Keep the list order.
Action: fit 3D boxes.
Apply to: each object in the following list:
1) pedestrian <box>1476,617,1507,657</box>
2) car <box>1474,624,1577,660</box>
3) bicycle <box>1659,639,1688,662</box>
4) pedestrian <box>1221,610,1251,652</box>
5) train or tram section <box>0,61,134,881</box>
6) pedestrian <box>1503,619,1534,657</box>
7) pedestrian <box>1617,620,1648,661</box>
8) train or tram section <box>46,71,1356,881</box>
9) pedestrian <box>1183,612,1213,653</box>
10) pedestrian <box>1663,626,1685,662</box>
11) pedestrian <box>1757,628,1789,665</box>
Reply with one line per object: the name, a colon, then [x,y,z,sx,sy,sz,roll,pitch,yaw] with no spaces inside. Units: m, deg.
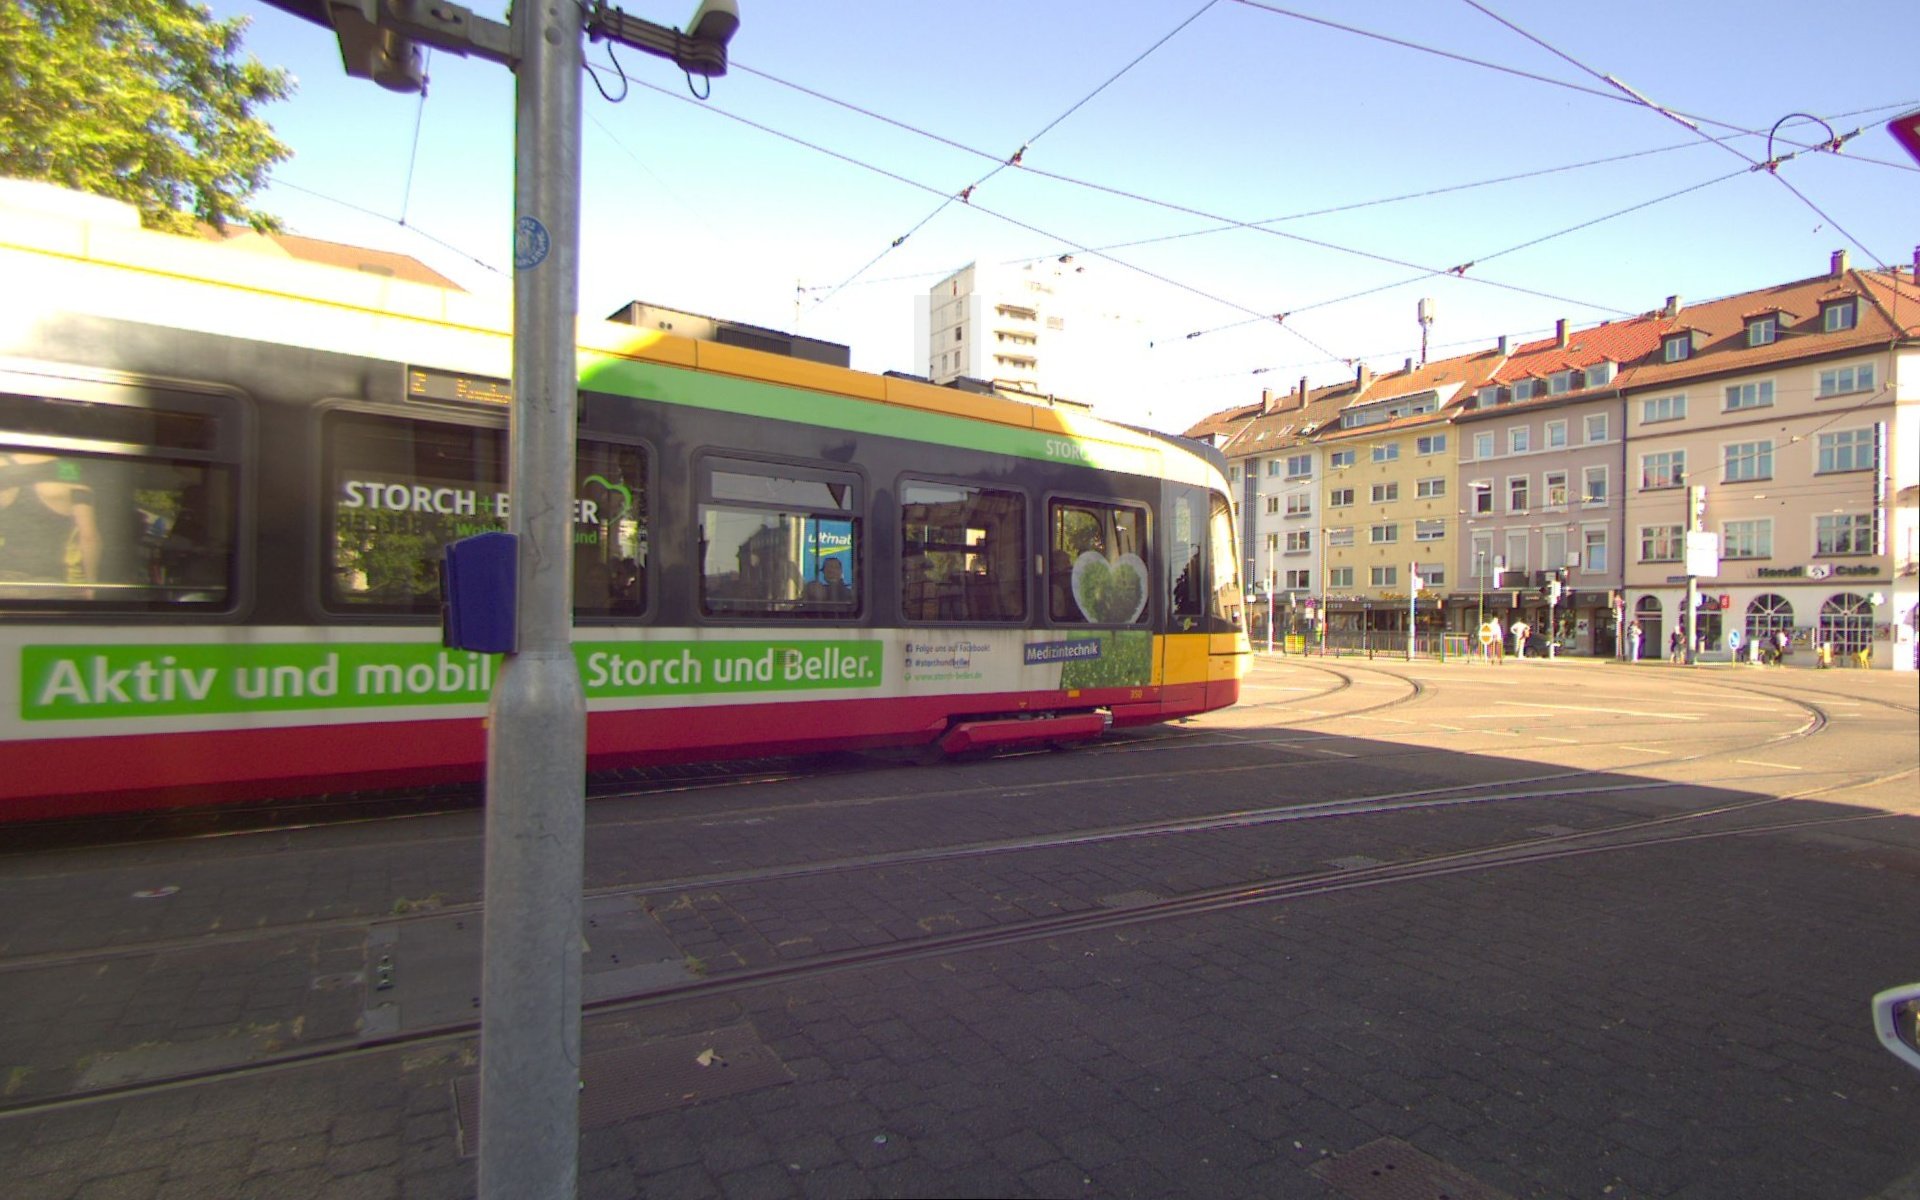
pedestrian: [21.544,1.501,40.747,0.867,1.598,0.665,2,0,-2]
car: [30.819,2.283,54.849,2.277,1.734,4.350,2,0,-27]
bicycle: [34.050,2.403,47.925,1.479,1.091,0.570,2,0,-30]
pedestrian: [11.380,1.267,41.426,1.037,1.700,0.929,0,0,3]
train or tram section: [-10.528,-0.735,2.530,12.684,3.864,2.915,1,-1,-33]
pedestrian: [24.398,1.662,43.875,0.821,1.598,0.847,2,0,-20]
pedestrian: [26.663,1.602,39.843,0.817,1.598,0.552,2,0,-2]
train or tram section: [-0.612,-0.461,9.773,12.020,3.864,2.908,2,-1,-40]
pedestrian: [9.924,1.338,41.901,1.037,1.700,0.929,0,0,3]
pedestrian: [34.076,2.103,47.937,0.743,1.692,0.579,2,0,-30]
pedestrian: [36.144,2.064,44.655,0.816,1.598,0.728,2,0,14]
